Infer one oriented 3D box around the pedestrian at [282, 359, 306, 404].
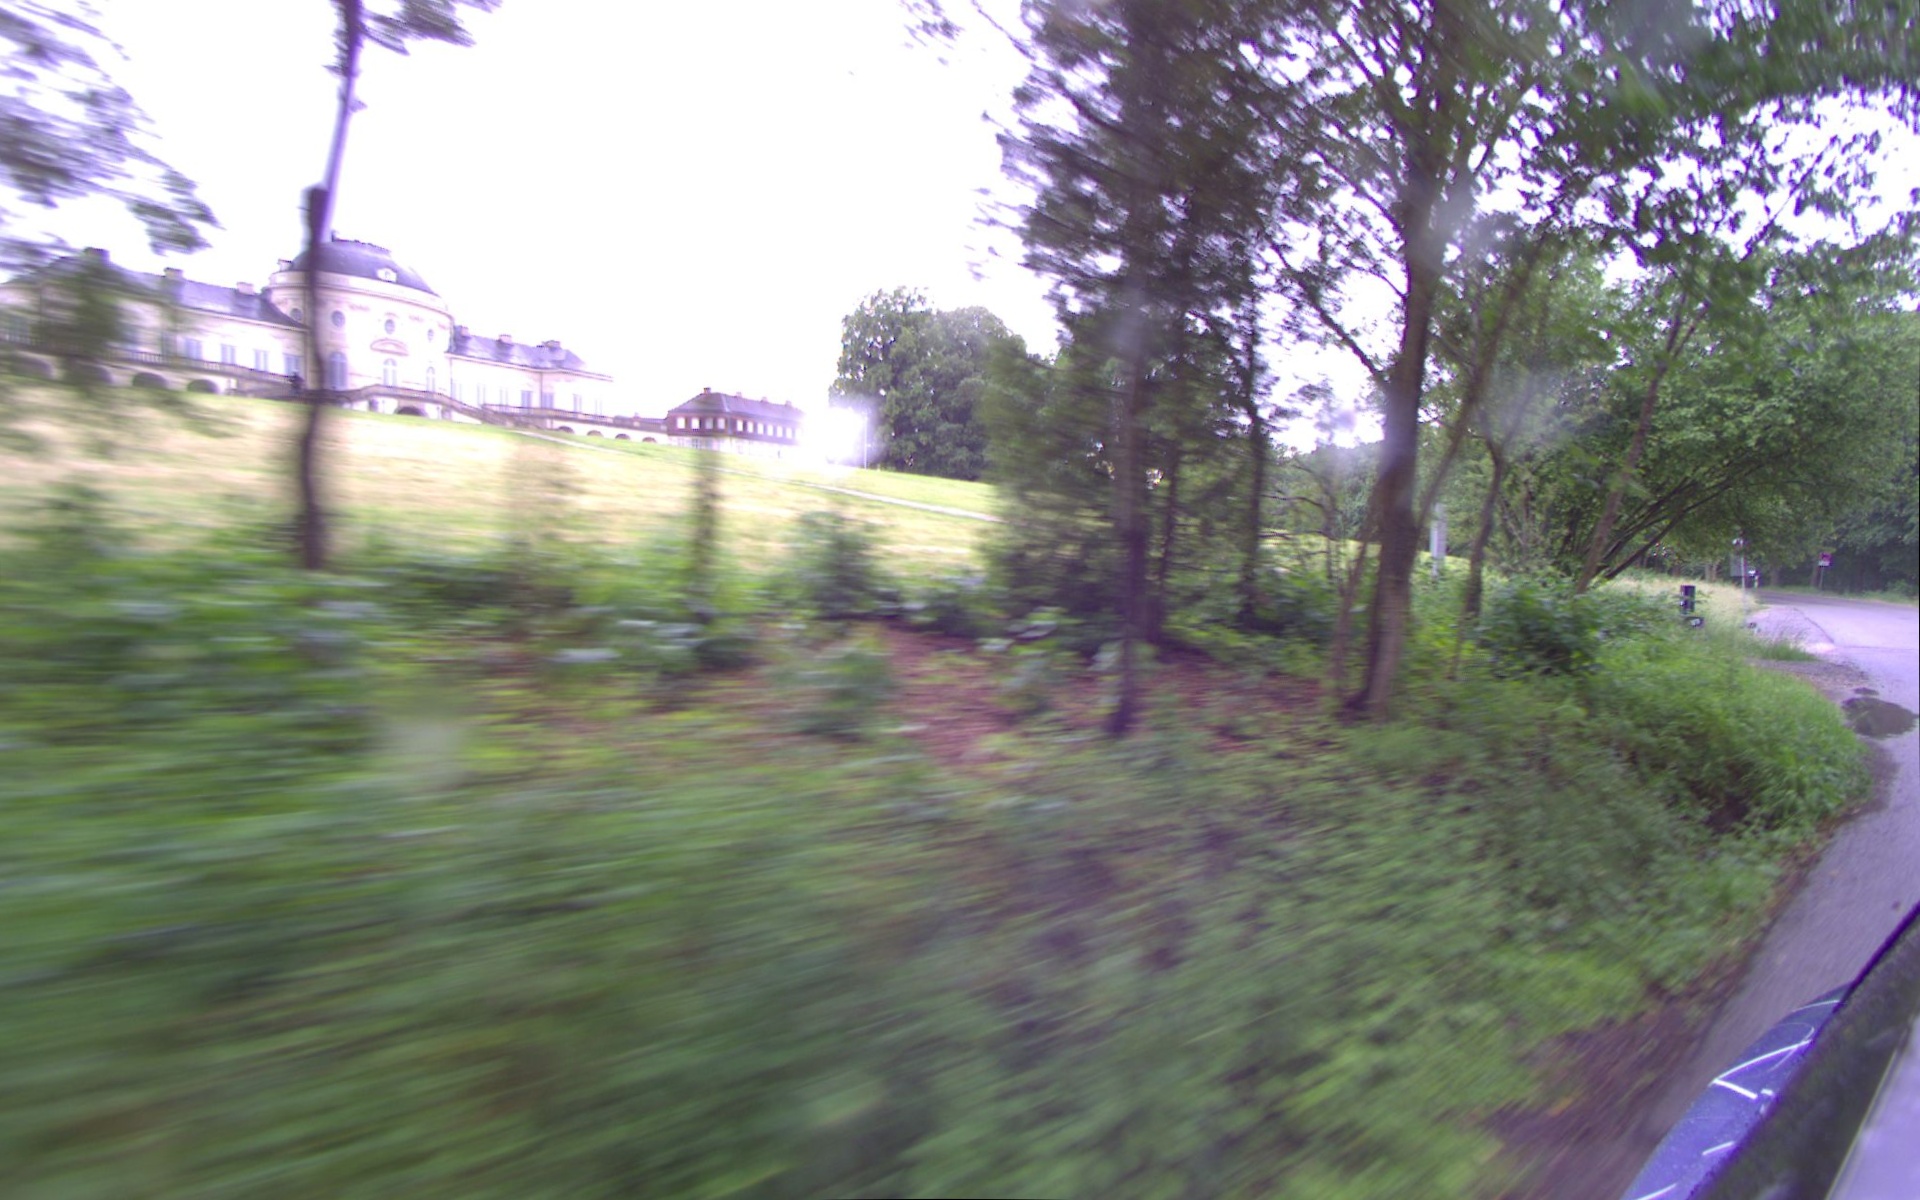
[{"bbox_3d":[-29.519,-9.692,44.874,0.787,1.757,0.930,2,1,-32],"label":"pedestrian"}]
